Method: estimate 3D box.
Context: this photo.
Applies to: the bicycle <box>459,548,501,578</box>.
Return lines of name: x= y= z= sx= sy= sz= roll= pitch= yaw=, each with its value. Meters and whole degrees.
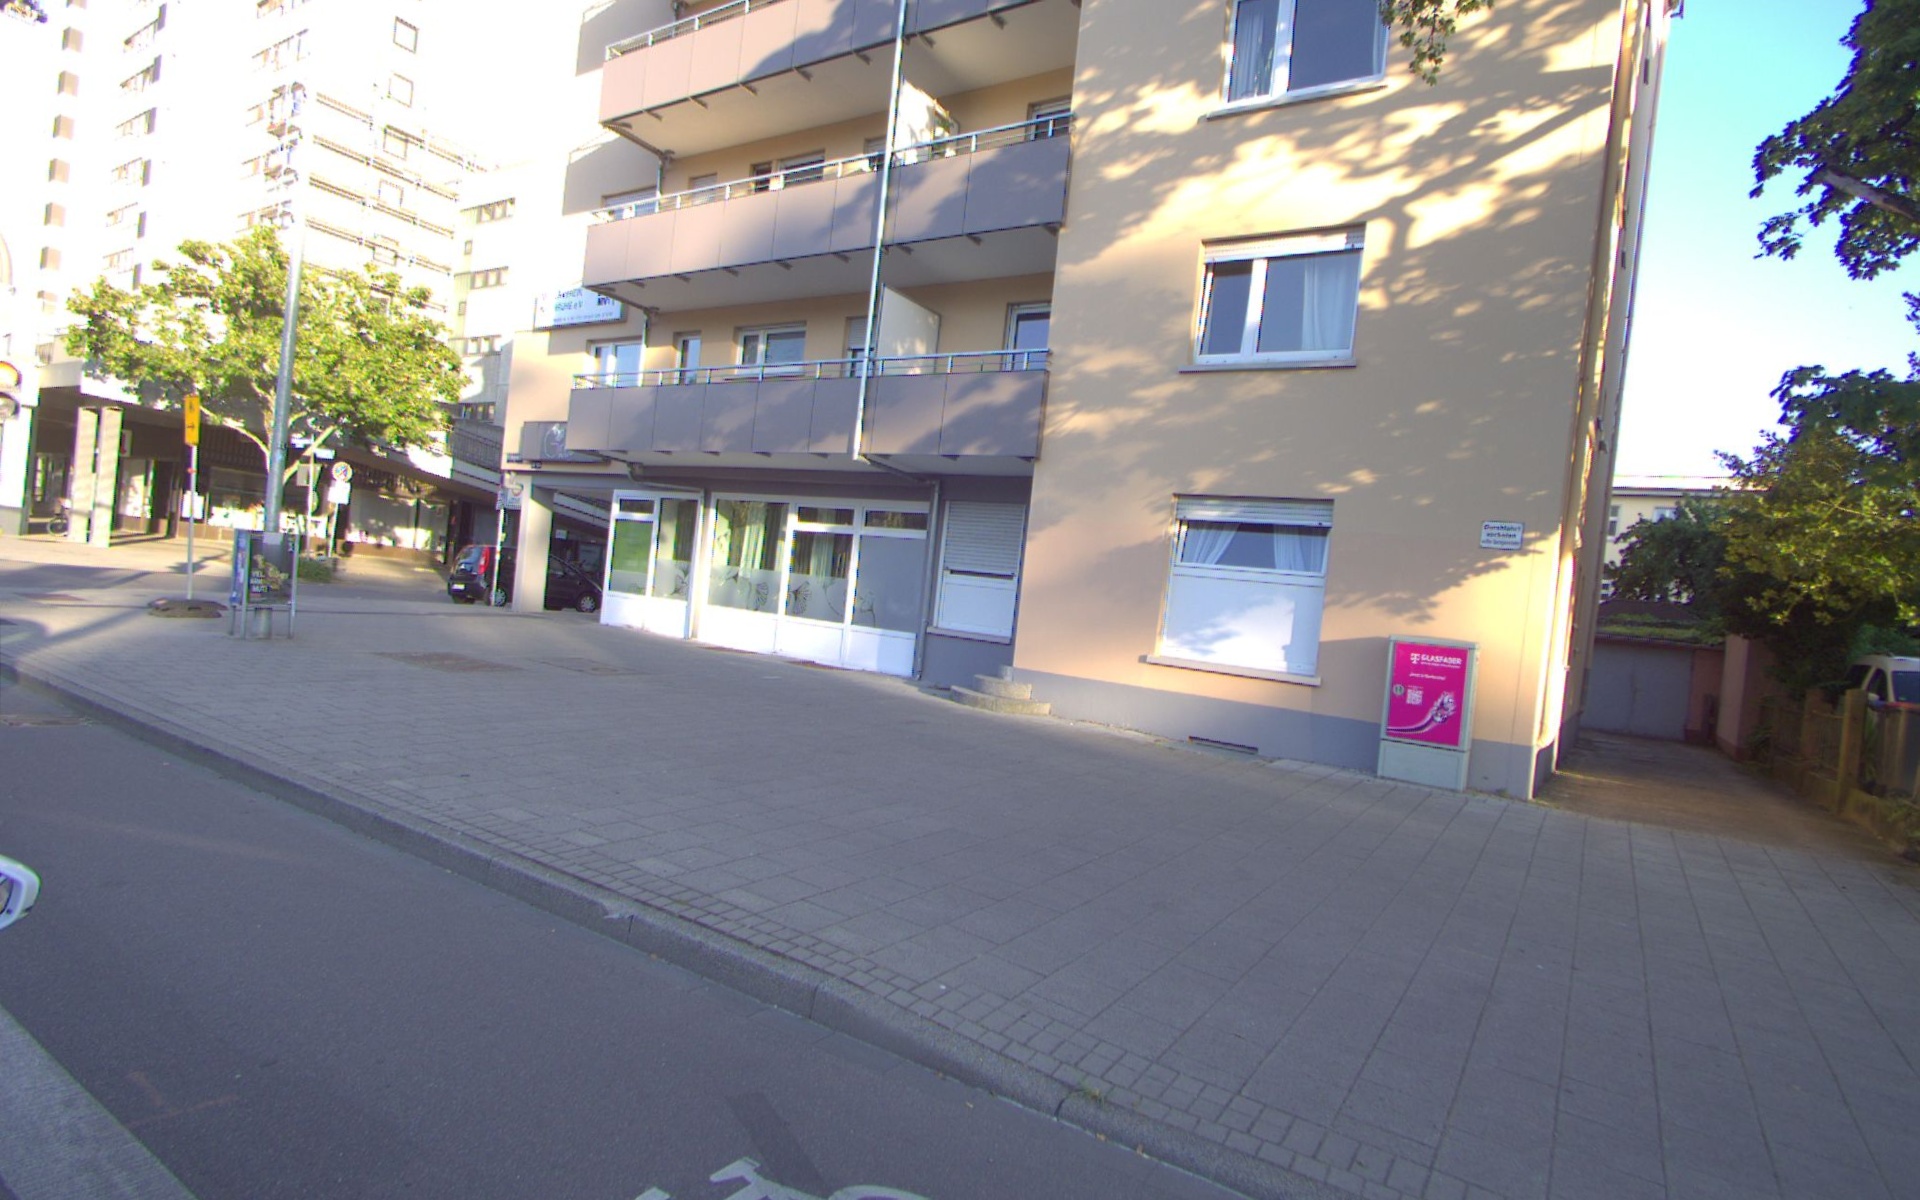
bicycle: x=-20.210 y=-1.546 z=42.329 sx=1.946 sy=1.086 sz=0.581 roll=5 pitch=-3 yaw=35

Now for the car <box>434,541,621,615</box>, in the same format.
car: x=-10.890 y=-0.511 z=25.551 sx=1.680 sy=1.605 sz=4.037 roll=3 pitch=-1 yaw=36

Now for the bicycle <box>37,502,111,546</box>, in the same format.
bicycle: x=-28.989 y=-2.482 z=32.905 sx=1.984 sy=1.162 sz=0.692 roll=7 pitch=-2 yaw=14

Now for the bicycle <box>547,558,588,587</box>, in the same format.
bicycle: x=-17.401 y=-1.216 z=44.544 sx=1.946 sy=1.086 sz=0.581 roll=5 pitch=-3 yaw=35

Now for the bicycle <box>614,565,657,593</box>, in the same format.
bicycle: x=-15.407 y=-1.000 z=47.744 sx=1.942 sy=1.087 sz=0.583 roll=6 pitch=-3 yaw=26

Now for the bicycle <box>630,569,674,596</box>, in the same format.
bicycle: x=-14.983 y=-0.866 z=48.932 sx=1.941 sy=1.087 sz=0.583 roll=6 pitch=-2 yaw=21

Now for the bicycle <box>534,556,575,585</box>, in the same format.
bicycle: x=-17.816 y=-1.308 z=44.156 sx=1.946 sy=1.086 sz=0.581 roll=5 pitch=-3 yaw=35

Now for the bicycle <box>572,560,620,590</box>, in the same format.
bicycle: x=-16.830 y=-1.151 z=46.541 sx=1.939 sy=1.086 sz=0.584 roll=7 pitch=-2 yaw=9

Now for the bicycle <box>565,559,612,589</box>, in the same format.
bicycle: x=-17.020 y=-1.180 z=46.098 sx=1.939 sy=1.087 sz=0.584 roll=7 pitch=-2 yaw=13

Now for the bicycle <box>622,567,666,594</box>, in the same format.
bicycle: x=-15.160 y=-0.940 z=48.311 sx=1.941 sy=1.087 sz=0.583 roll=6 pitch=-2 yaw=21

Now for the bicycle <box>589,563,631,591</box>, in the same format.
bicycle: x=-16.347 y=-1.080 z=46.953 sx=1.943 sy=1.087 sz=0.582 roll=6 pitch=-3 yaw=29

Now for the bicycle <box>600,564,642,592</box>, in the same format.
bicycle: x=-15.981 y=-1.045 z=47.391 sx=1.943 sy=1.087 sz=0.582 roll=6 pitch=-3 yaw=29

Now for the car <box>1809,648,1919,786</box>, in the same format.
car: x=14.569 y=1.747 z=14.968 sx=1.794 sy=1.780 sz=4.513 roll=8 pitch=2 yaw=27
